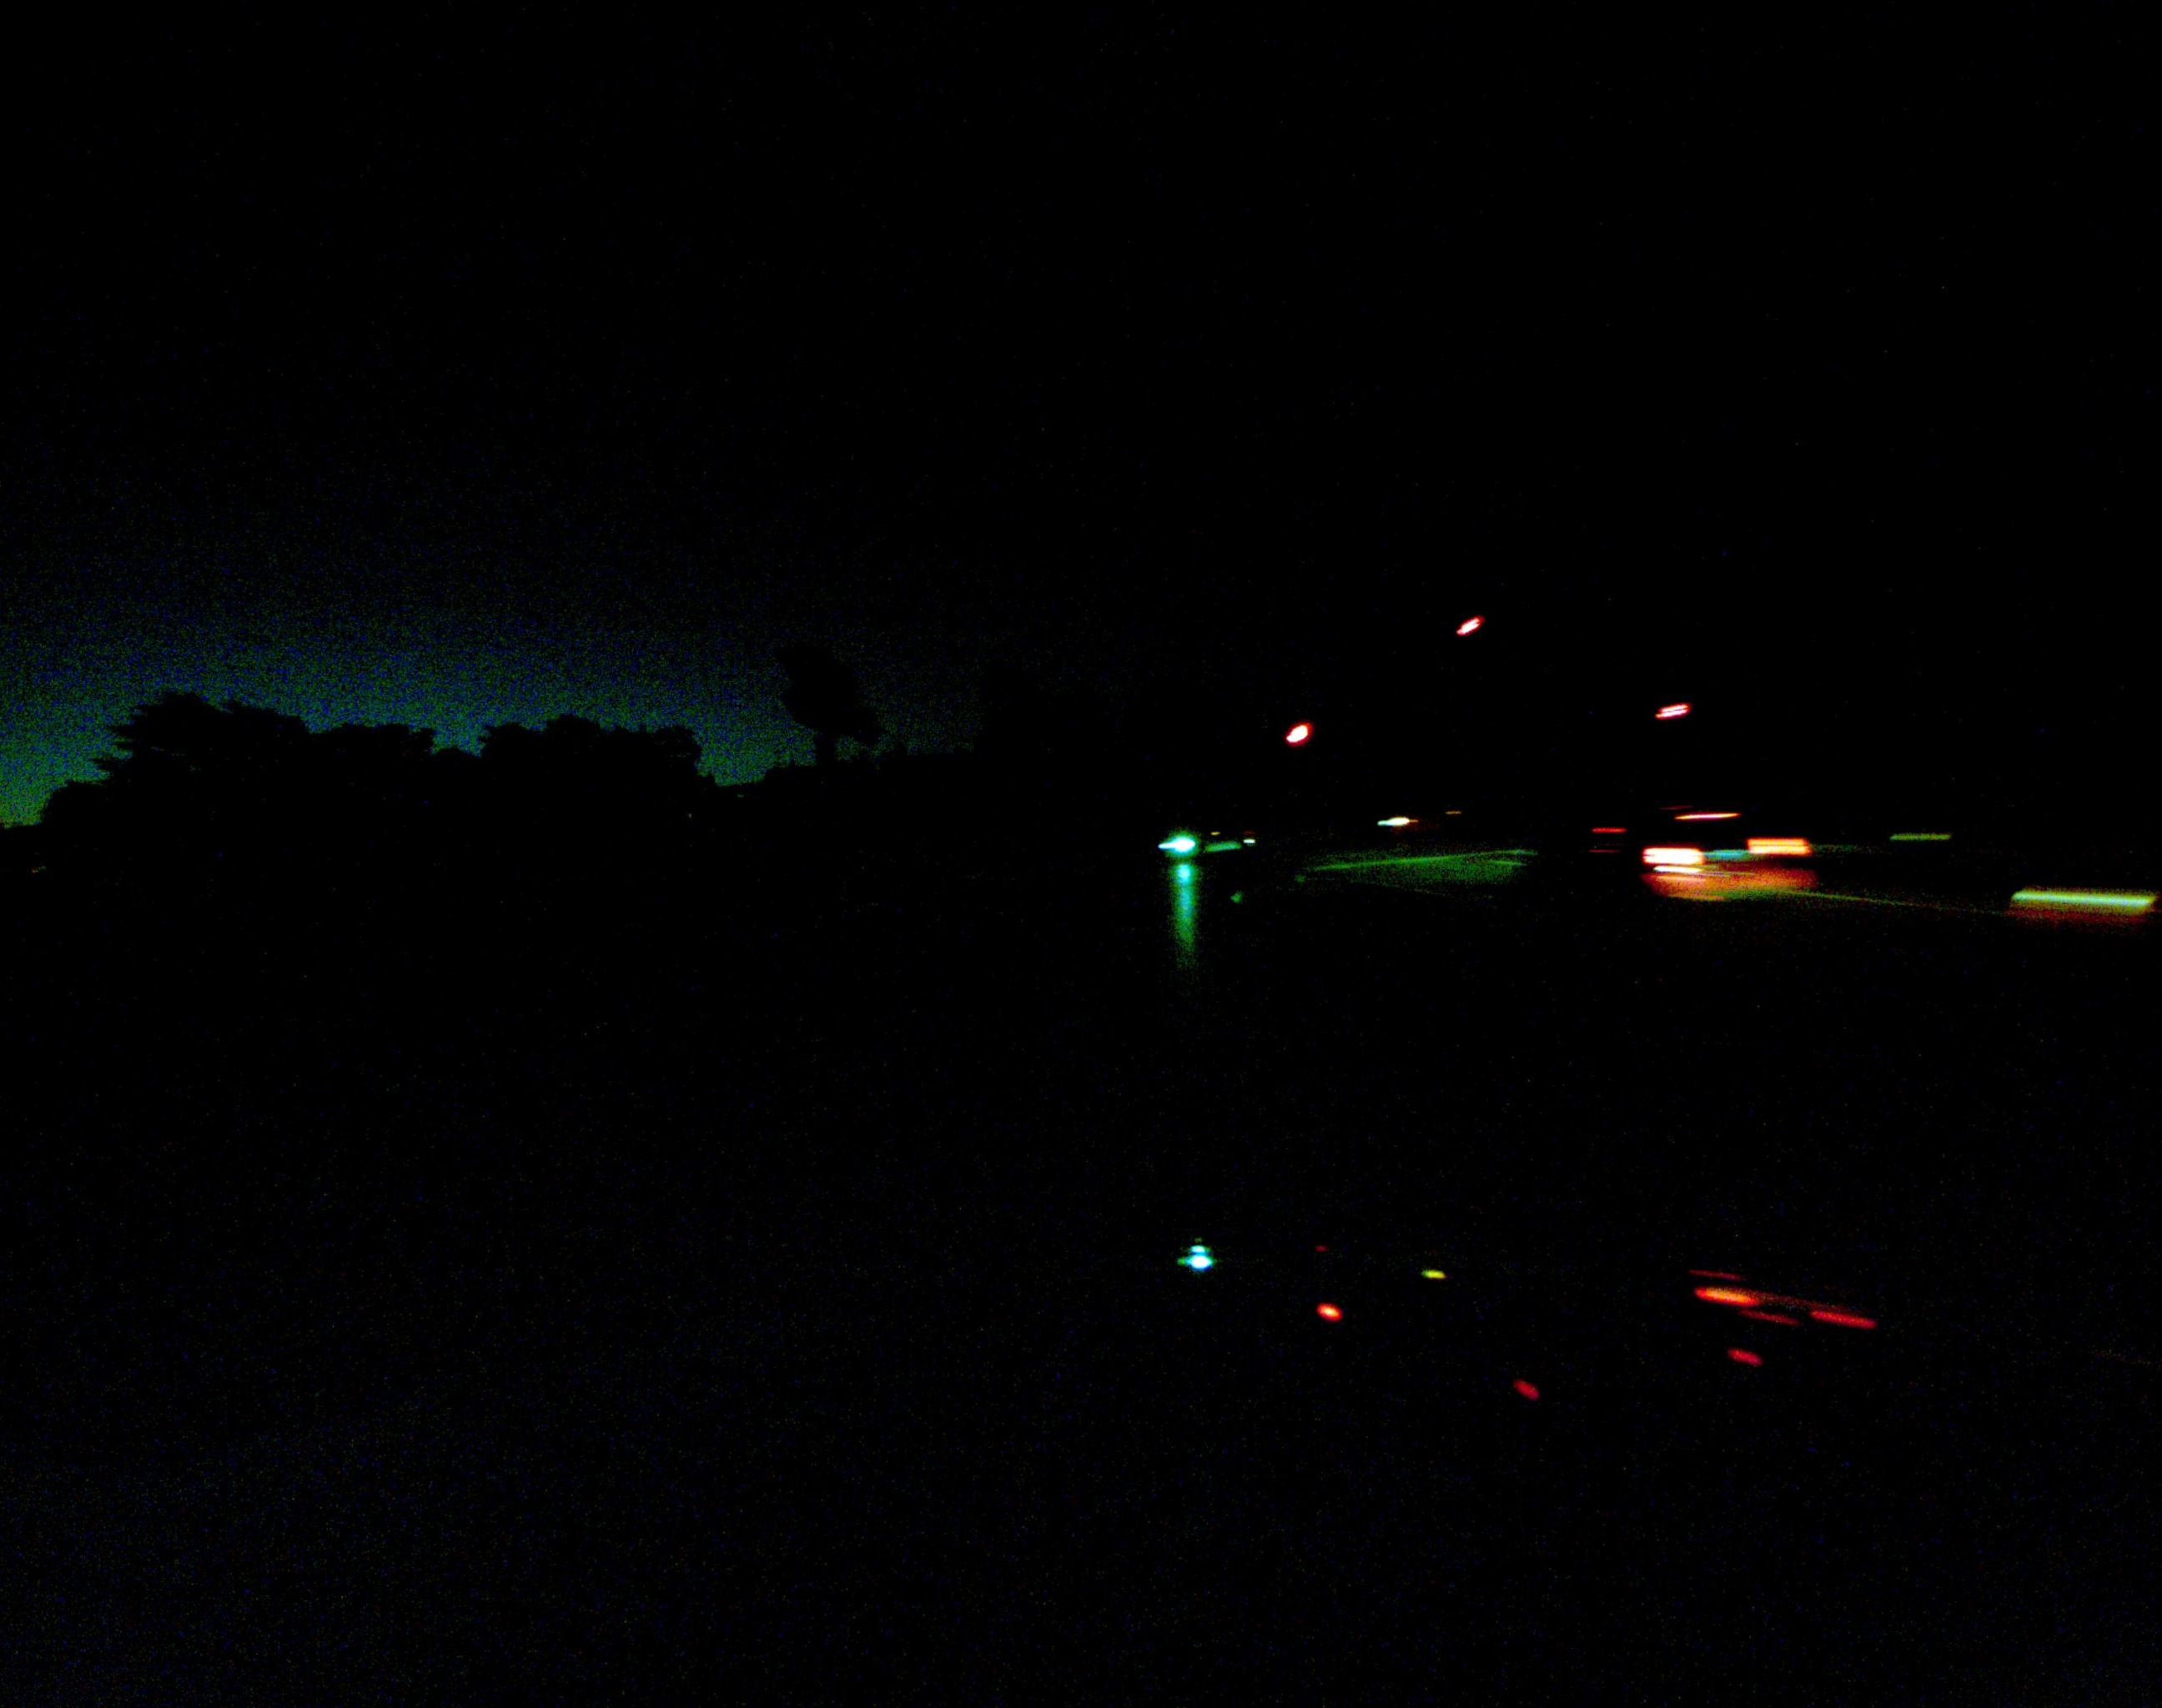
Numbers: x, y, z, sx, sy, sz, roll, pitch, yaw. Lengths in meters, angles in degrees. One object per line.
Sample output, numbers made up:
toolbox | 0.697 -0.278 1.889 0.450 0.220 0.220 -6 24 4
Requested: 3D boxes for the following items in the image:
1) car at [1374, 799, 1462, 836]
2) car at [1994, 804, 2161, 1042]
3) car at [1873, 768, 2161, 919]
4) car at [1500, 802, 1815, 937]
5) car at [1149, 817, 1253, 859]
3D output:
car | 16.359 -1.766 36.996 3.488 1.442 1.657 -5 1 -4
car | 7.449 0.409 3.531 1.714 1.436 3.985 -5 1 4
car | 12.014 -0.187 8.728 1.758 1.452 3.999 -6 2 4
car | 8.020 0.091 11.097 1.703 1.467 3.869 -6 3 3
car | 5.141 -0.700 32.345 4.198 1.451 1.760 -5 1 -34
